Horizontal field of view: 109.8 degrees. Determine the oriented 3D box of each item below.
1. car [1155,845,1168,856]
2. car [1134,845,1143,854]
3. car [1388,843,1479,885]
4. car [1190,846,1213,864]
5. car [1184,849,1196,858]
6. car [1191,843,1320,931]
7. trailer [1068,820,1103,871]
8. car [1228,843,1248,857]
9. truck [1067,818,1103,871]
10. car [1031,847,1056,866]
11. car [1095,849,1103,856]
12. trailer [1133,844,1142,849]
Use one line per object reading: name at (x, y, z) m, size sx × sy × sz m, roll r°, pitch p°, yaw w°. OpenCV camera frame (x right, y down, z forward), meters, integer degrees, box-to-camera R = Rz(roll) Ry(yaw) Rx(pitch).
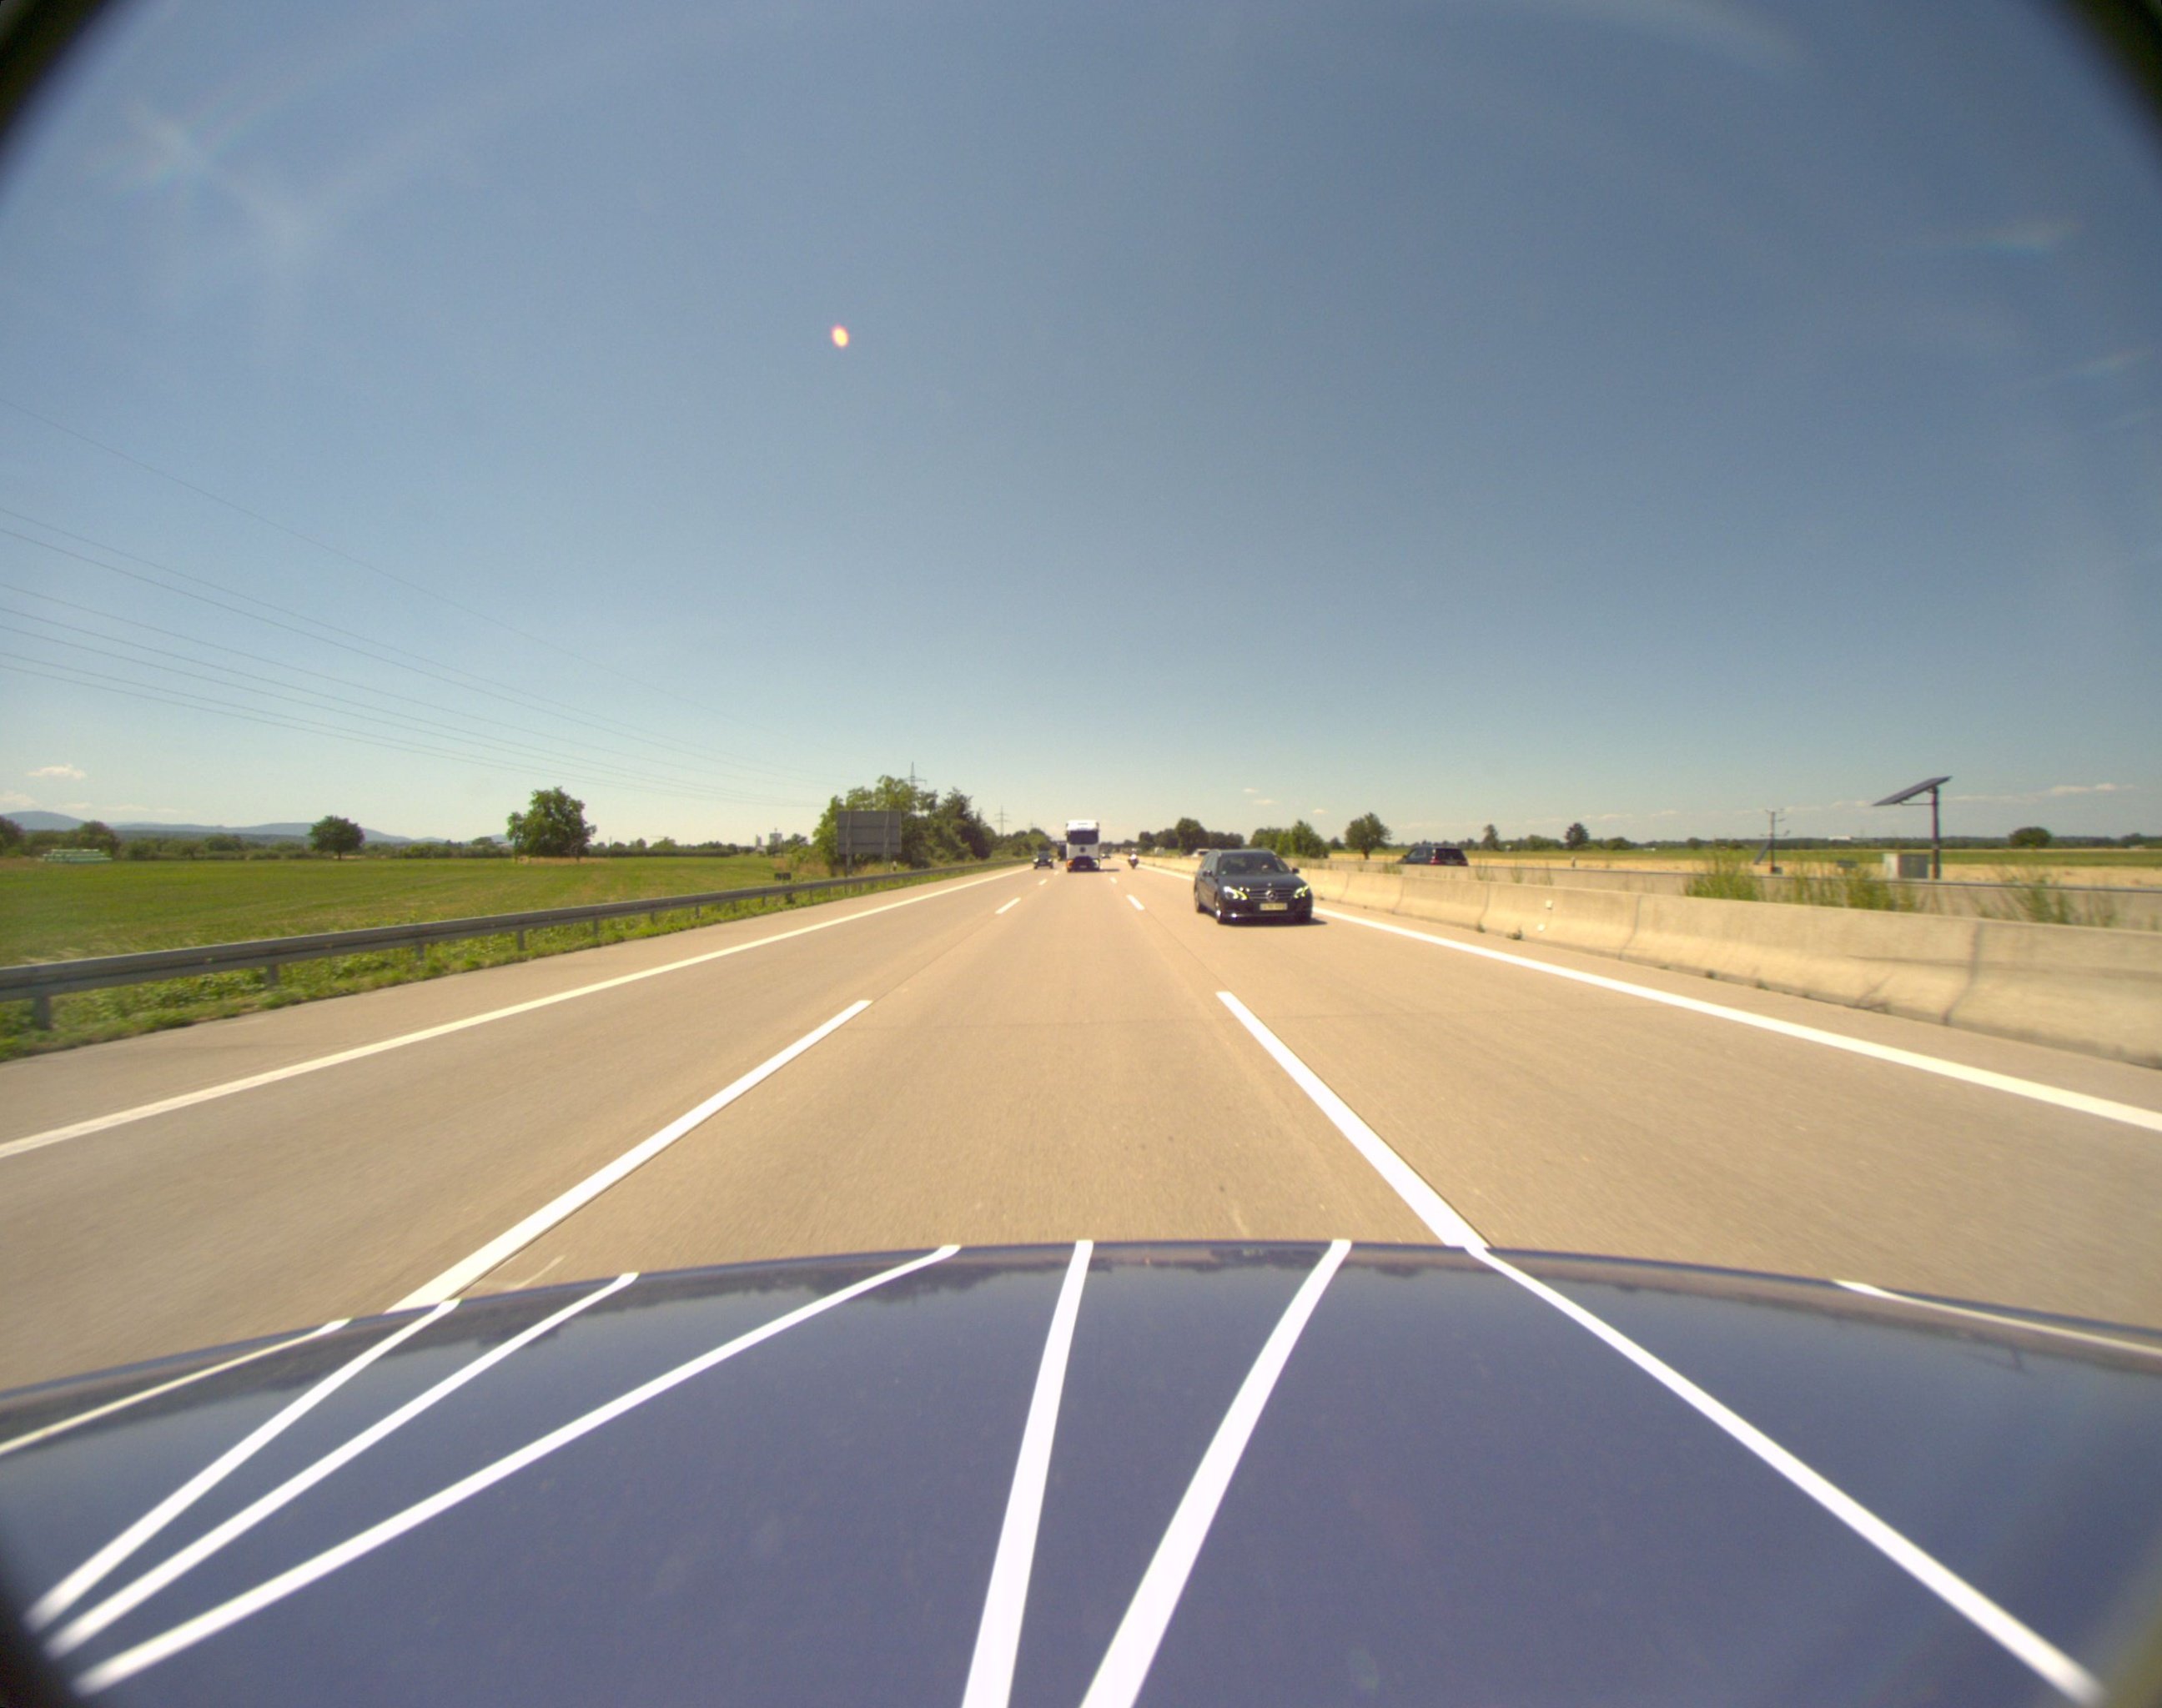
car at (18.823, -0.860, 177.727) m, size 2.218 × 2.505 × 6.124 m, roll -2°, pitch 0°, yaw 1°
car at (18.577, -1.529, 246.367) m, size 2.269 × 2.772 × 7.070 m, roll -2°, pitch 0°, yaw 0°
car at (16.935, 0.463, 36.775) m, size 1.999 × 1.827 × 4.815 m, roll -2°, pitch 0°, yaw -2°
car at (13.228, 0.126, 83.305) m, size 1.911 × 1.849 × 4.000 m, roll -2°, pitch 0°, yaw 1°
car at (22.832, -0.155, 159.489) m, size 1.758 × 1.674 × 4.842 m, roll -2°, pitch 0°, yaw 1°
car at (3.550, 0.611, 16.194) m, size 1.848 × 1.576 × 3.940 m, roll -2°, pitch 0°, yaw 1°
trailer at (0.328, -0.709, 64.221) m, size 2.587 × 3.855 × 10.372 m, roll -2°, pitch 0°, yaw 0°
car at (21.340, -0.501, 103.651) m, size 1.998 × 1.772 × 4.000 m, roll -2°, pitch 0°, yaw 2°
truck at (0.294, -0.740, 58.890) m, size 2.587 × 3.855 × 4.983 m, roll -2°, pitch 1°, yaw 0°
car at (-3.672, 0.219, 75.366) m, size 1.998 × 1.772 × 4.000 m, roll -2°, pitch 0°, yaw 3°
car at (5.196, -0.484, 215.882) m, size 1.999 × 1.827 × 4.815 m, roll -2°, pitch 0°, yaw -2°
trailer at (18.535, -2.408, 249.965) m, size 2.243 × 1.735 × 10.543 m, roll 0°, pitch 0°, yaw 0°
